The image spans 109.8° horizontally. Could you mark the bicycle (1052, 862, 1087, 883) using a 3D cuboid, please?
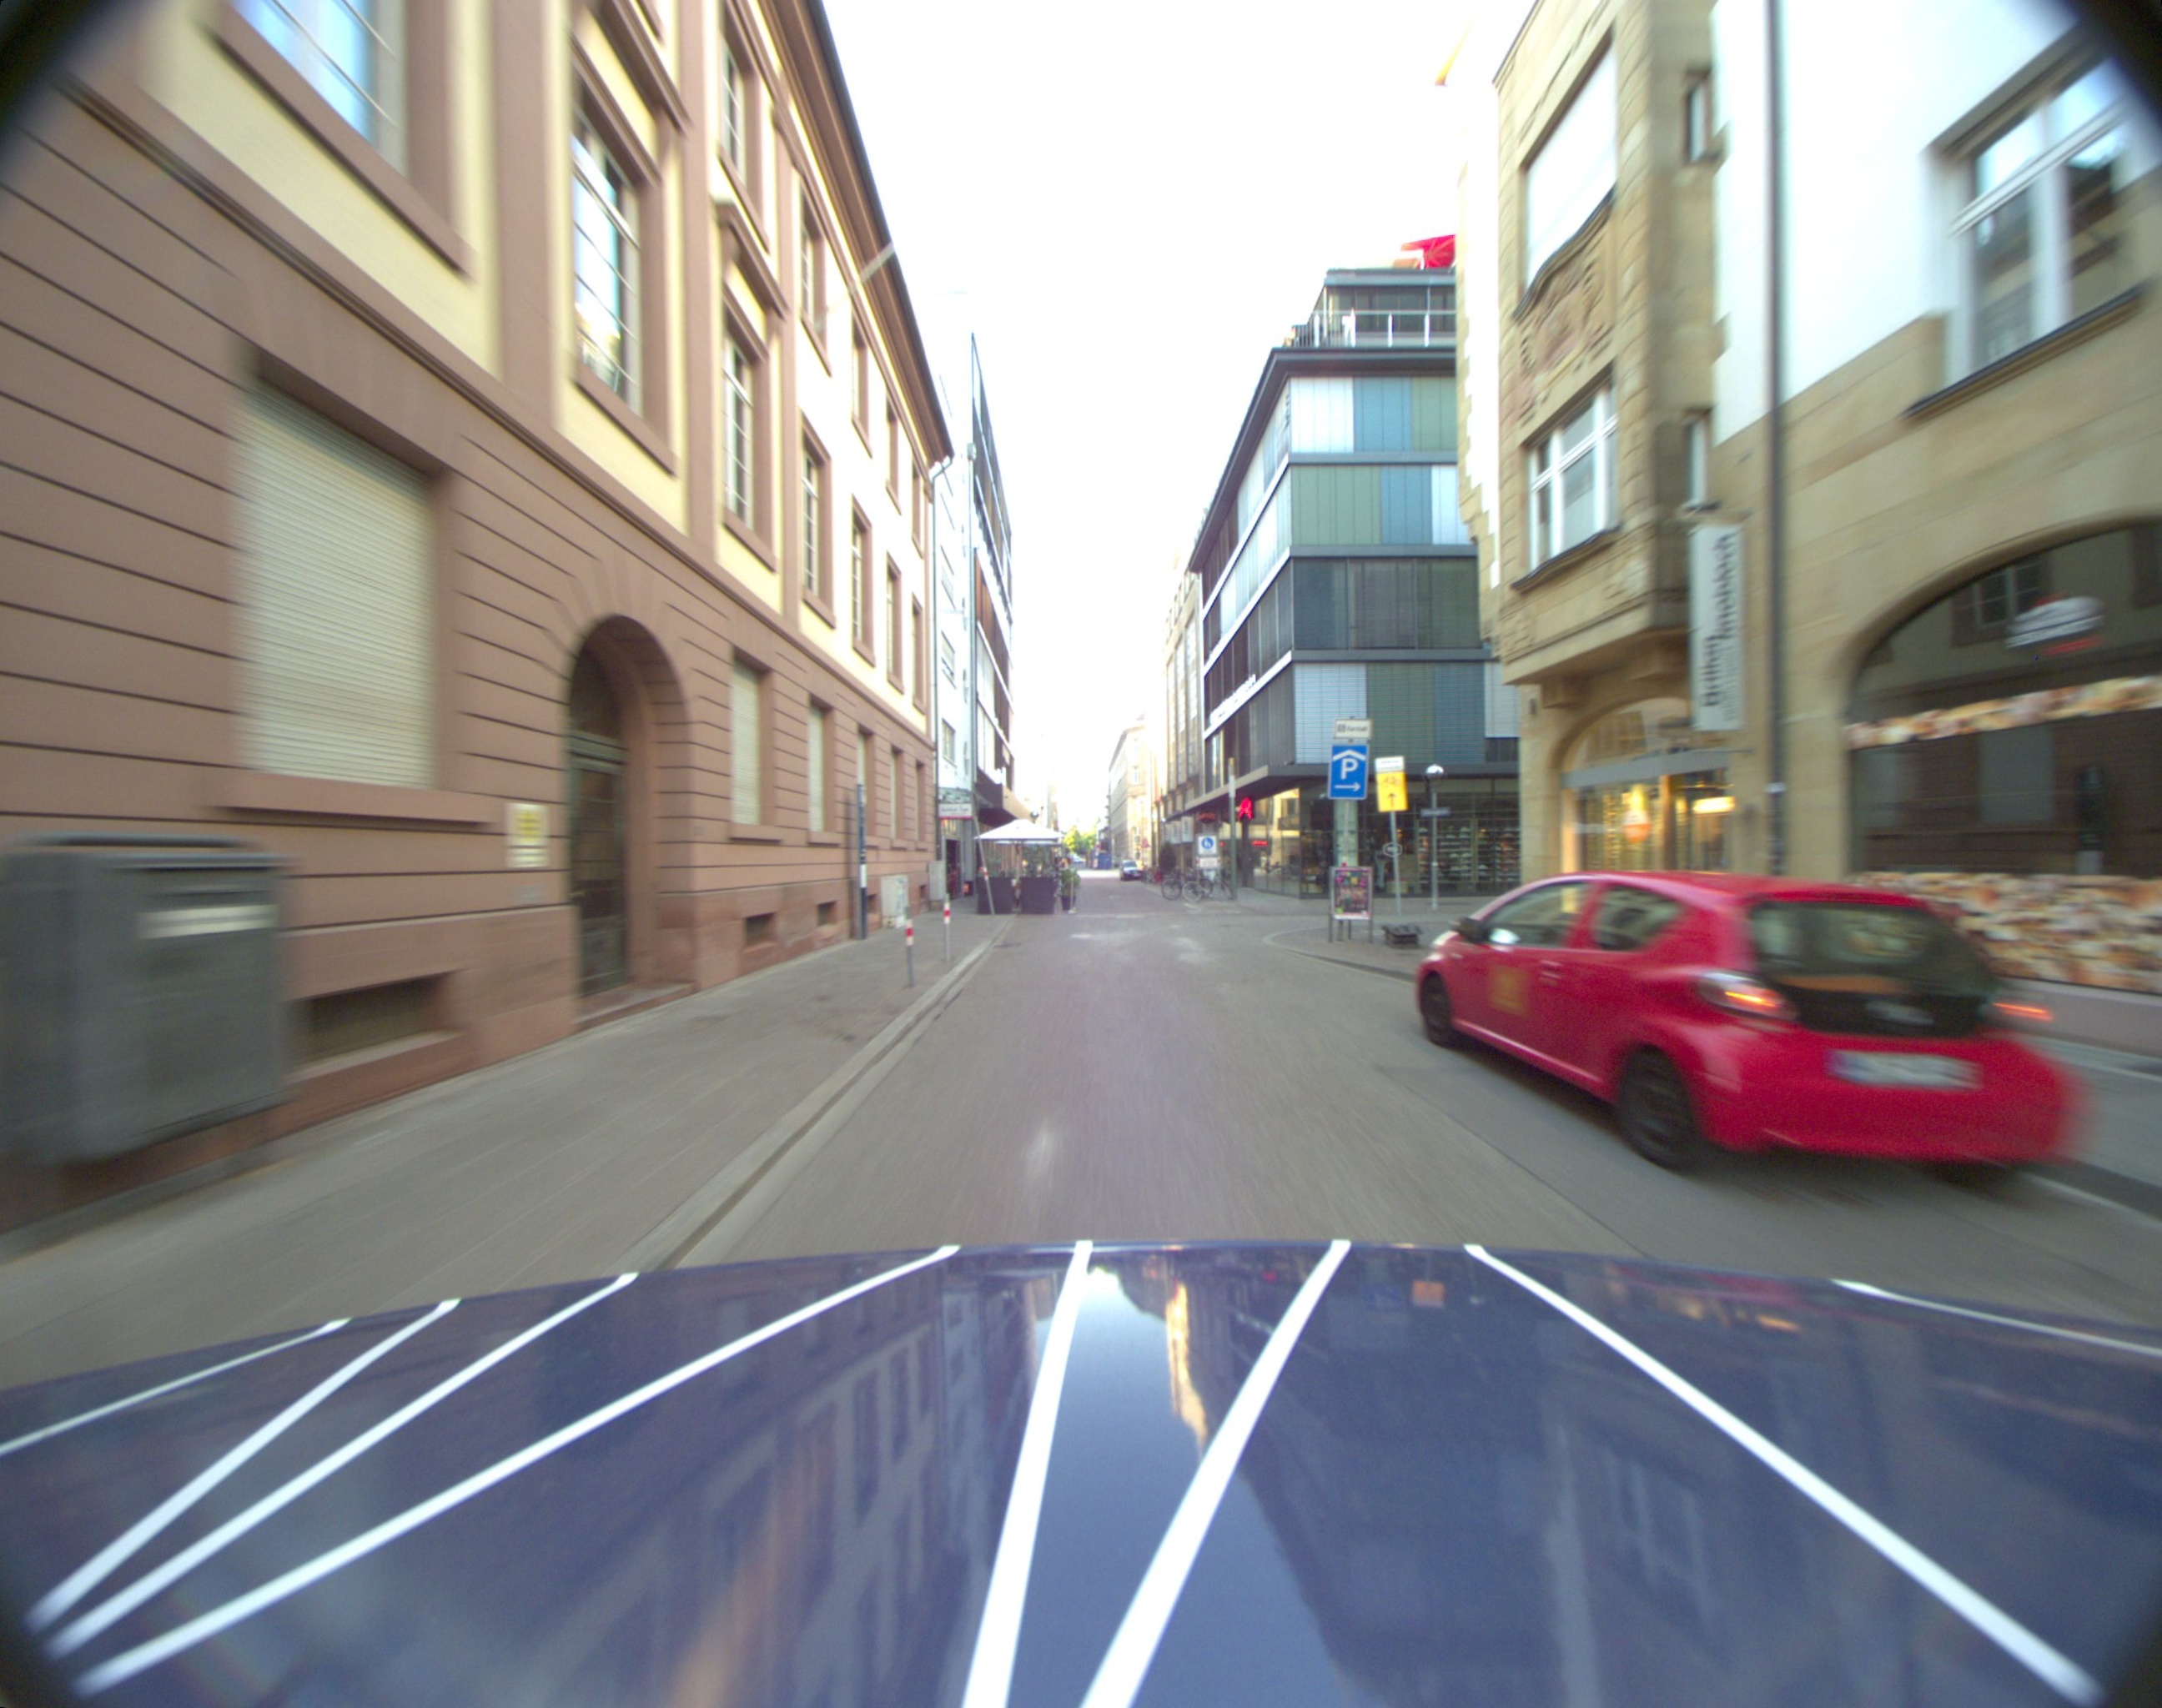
[{"bbox_3d":[-0.688,1.131,45.772,2.039,1.161,0.665,2,0,-1],"label":"bicycle"}]

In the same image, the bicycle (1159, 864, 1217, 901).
[{"bbox_3d":[3.747,1.011,26.661,1.902,1.174,0.517,-3,-1,-2],"label":"bicycle"}]

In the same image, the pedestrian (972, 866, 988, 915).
[{"bbox_3d":[-2.729,0.969,20.563,0.363,1.298,0.494,-1,0,-14],"label":"pedestrian"}]

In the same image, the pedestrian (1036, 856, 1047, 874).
[{"bbox_3d":[-3.738,1.008,71.125,0.781,1.612,0.637,1,2,41],"label":"pedestrian"}]

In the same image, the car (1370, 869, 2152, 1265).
[{"bbox_3d":[3.516,0.912,5.072,1.662,1.461,3.931,2,1,0],"label":"car"}]

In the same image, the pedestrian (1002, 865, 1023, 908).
[{"bbox_3d":[-2.276,1.073,25.372,0.575,1.411,0.868,-1,0,1],"label":"pedestrian"}]

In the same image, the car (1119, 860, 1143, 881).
[{"bbox_3d":[3.486,1.117,53.238,1.602,1.414,3.605,-1,0,4],"label":"car"}]

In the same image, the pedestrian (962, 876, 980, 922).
[{"bbox_3d":[-4.281,1.746,29.655,0.640,1.762,0.602,-1,1,-5],"label":"pedestrian"}]

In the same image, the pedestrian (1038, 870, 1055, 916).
[{"bbox_3d":[-0.926,1.054,20.608,0.400,1.206,0.383,-1,0,-10],"label":"pedestrian"}]

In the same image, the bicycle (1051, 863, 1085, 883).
[{"bbox_3d":[-0.816,1.164,47.052,2.039,1.161,0.619,-1,0,-1],"label":"bicycle"}]

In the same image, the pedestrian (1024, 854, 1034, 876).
[{"bbox_3d":[-4.923,1.051,71.645,0.805,2.002,0.878,-1,1,-7],"label":"pedestrian"}]

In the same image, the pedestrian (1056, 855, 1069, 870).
[{"bbox_3d":[-1.932,0.883,80.844,0.917,1.563,0.995,-1,1,43],"label":"pedestrian"}]

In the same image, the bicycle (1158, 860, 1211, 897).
[{"bbox_3d":[4.004,0.962,29.448,1.902,1.262,0.538,-5,0,0],"label":"bicycle"}]

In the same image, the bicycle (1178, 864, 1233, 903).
[{"bbox_3d":[4.098,0.963,25.105,1.670,1.197,0.509,-3,0,-1],"label":"bicycle"}]

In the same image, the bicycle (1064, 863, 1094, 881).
[{"bbox_3d":[-0.175,1.260,52.380,2.039,1.209,0.619,-1,0,-1],"label":"bicycle"}]
